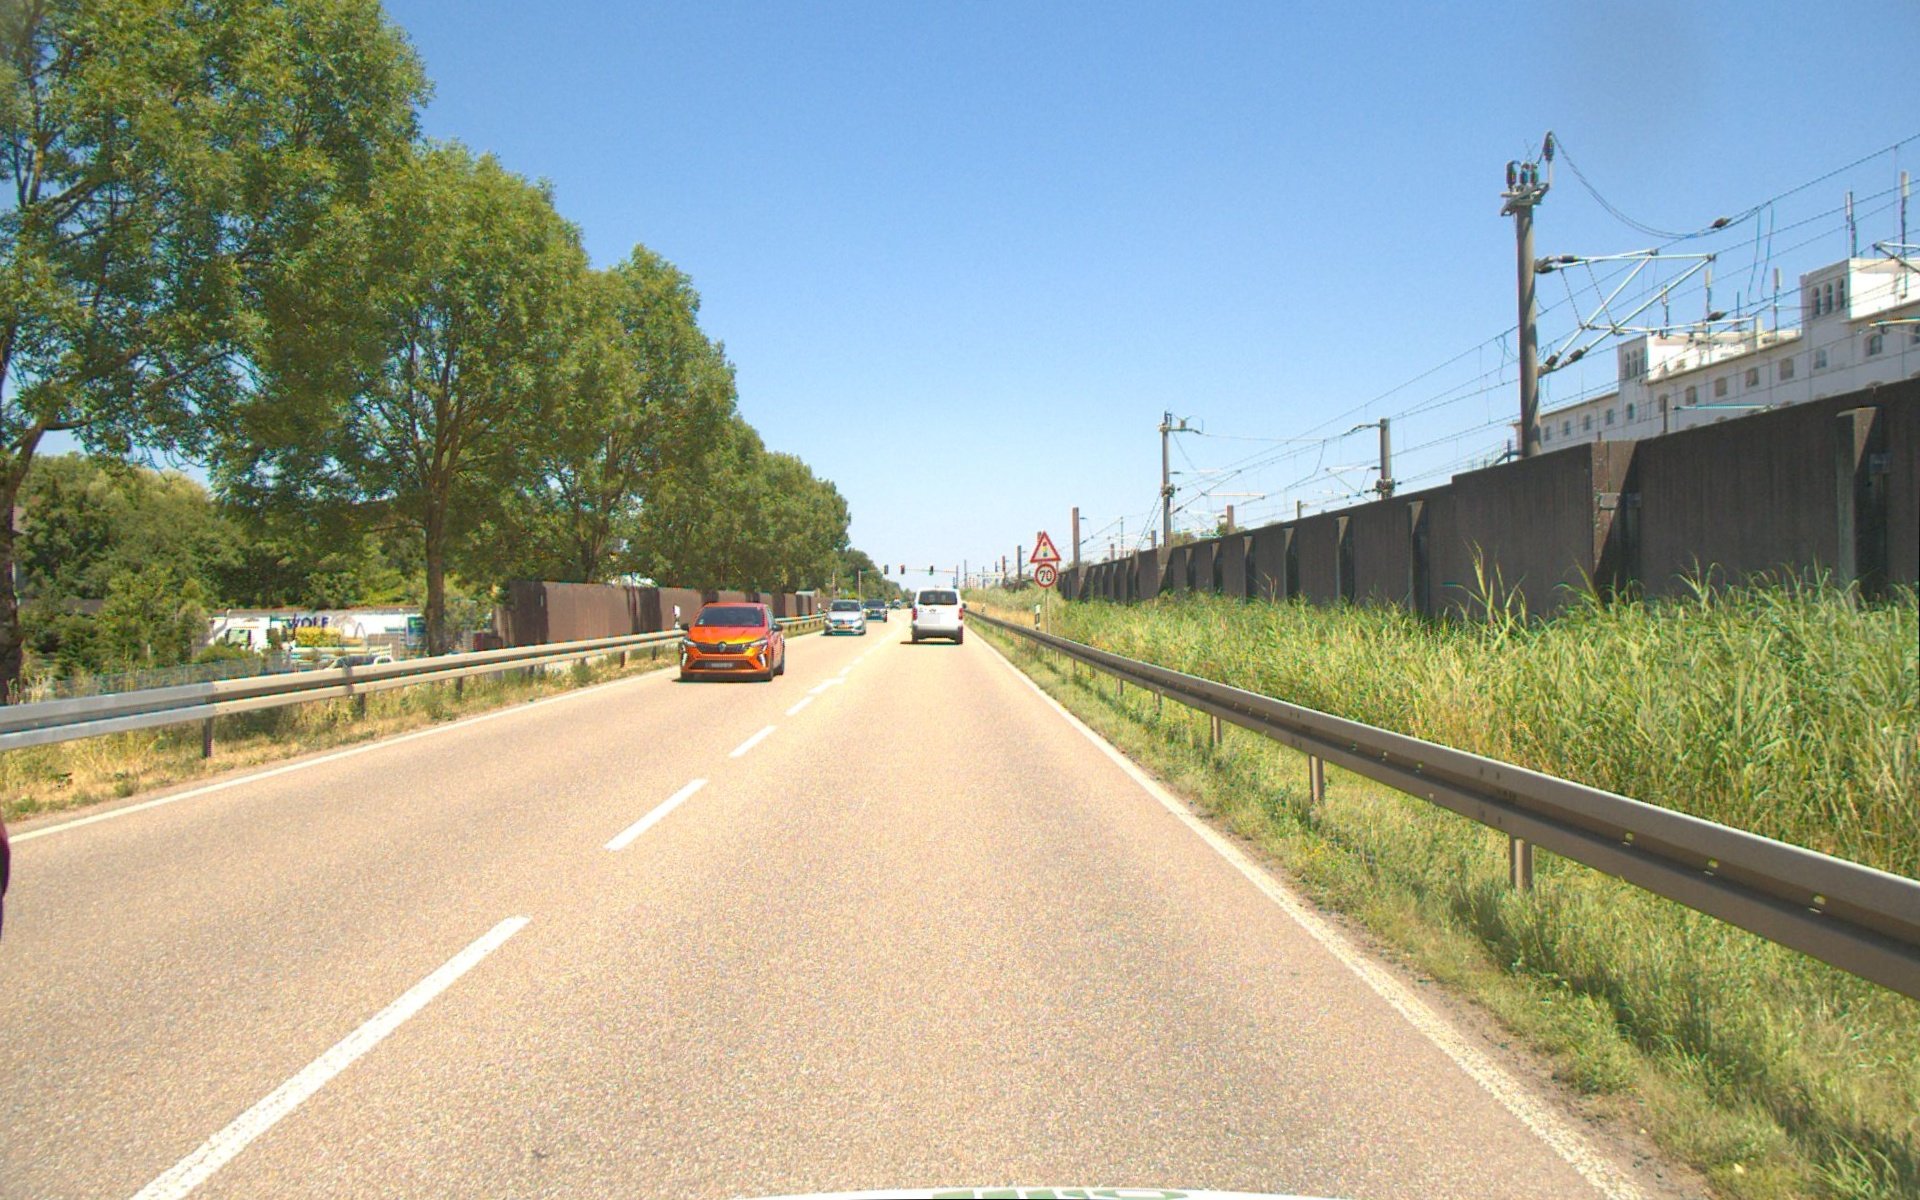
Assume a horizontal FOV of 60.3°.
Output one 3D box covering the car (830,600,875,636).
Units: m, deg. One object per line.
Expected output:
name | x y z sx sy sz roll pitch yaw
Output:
car | -4.751 0.786 73.679 1.753 1.552 4.389 0 0 0

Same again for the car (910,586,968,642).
car | -0.750 0.473 58.670 1.953 1.882 3.999 1 0 -1

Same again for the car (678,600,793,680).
car | -4.243 0.723 31.737 1.753 1.446 3.999 0 0 -1

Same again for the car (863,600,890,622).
car | -5.923 0.796 117.688 1.753 1.552 4.388 0 0 -2

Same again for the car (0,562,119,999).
car | -4.251 0.650 4.832 1.619 1.579 3.999 0 0 -1
